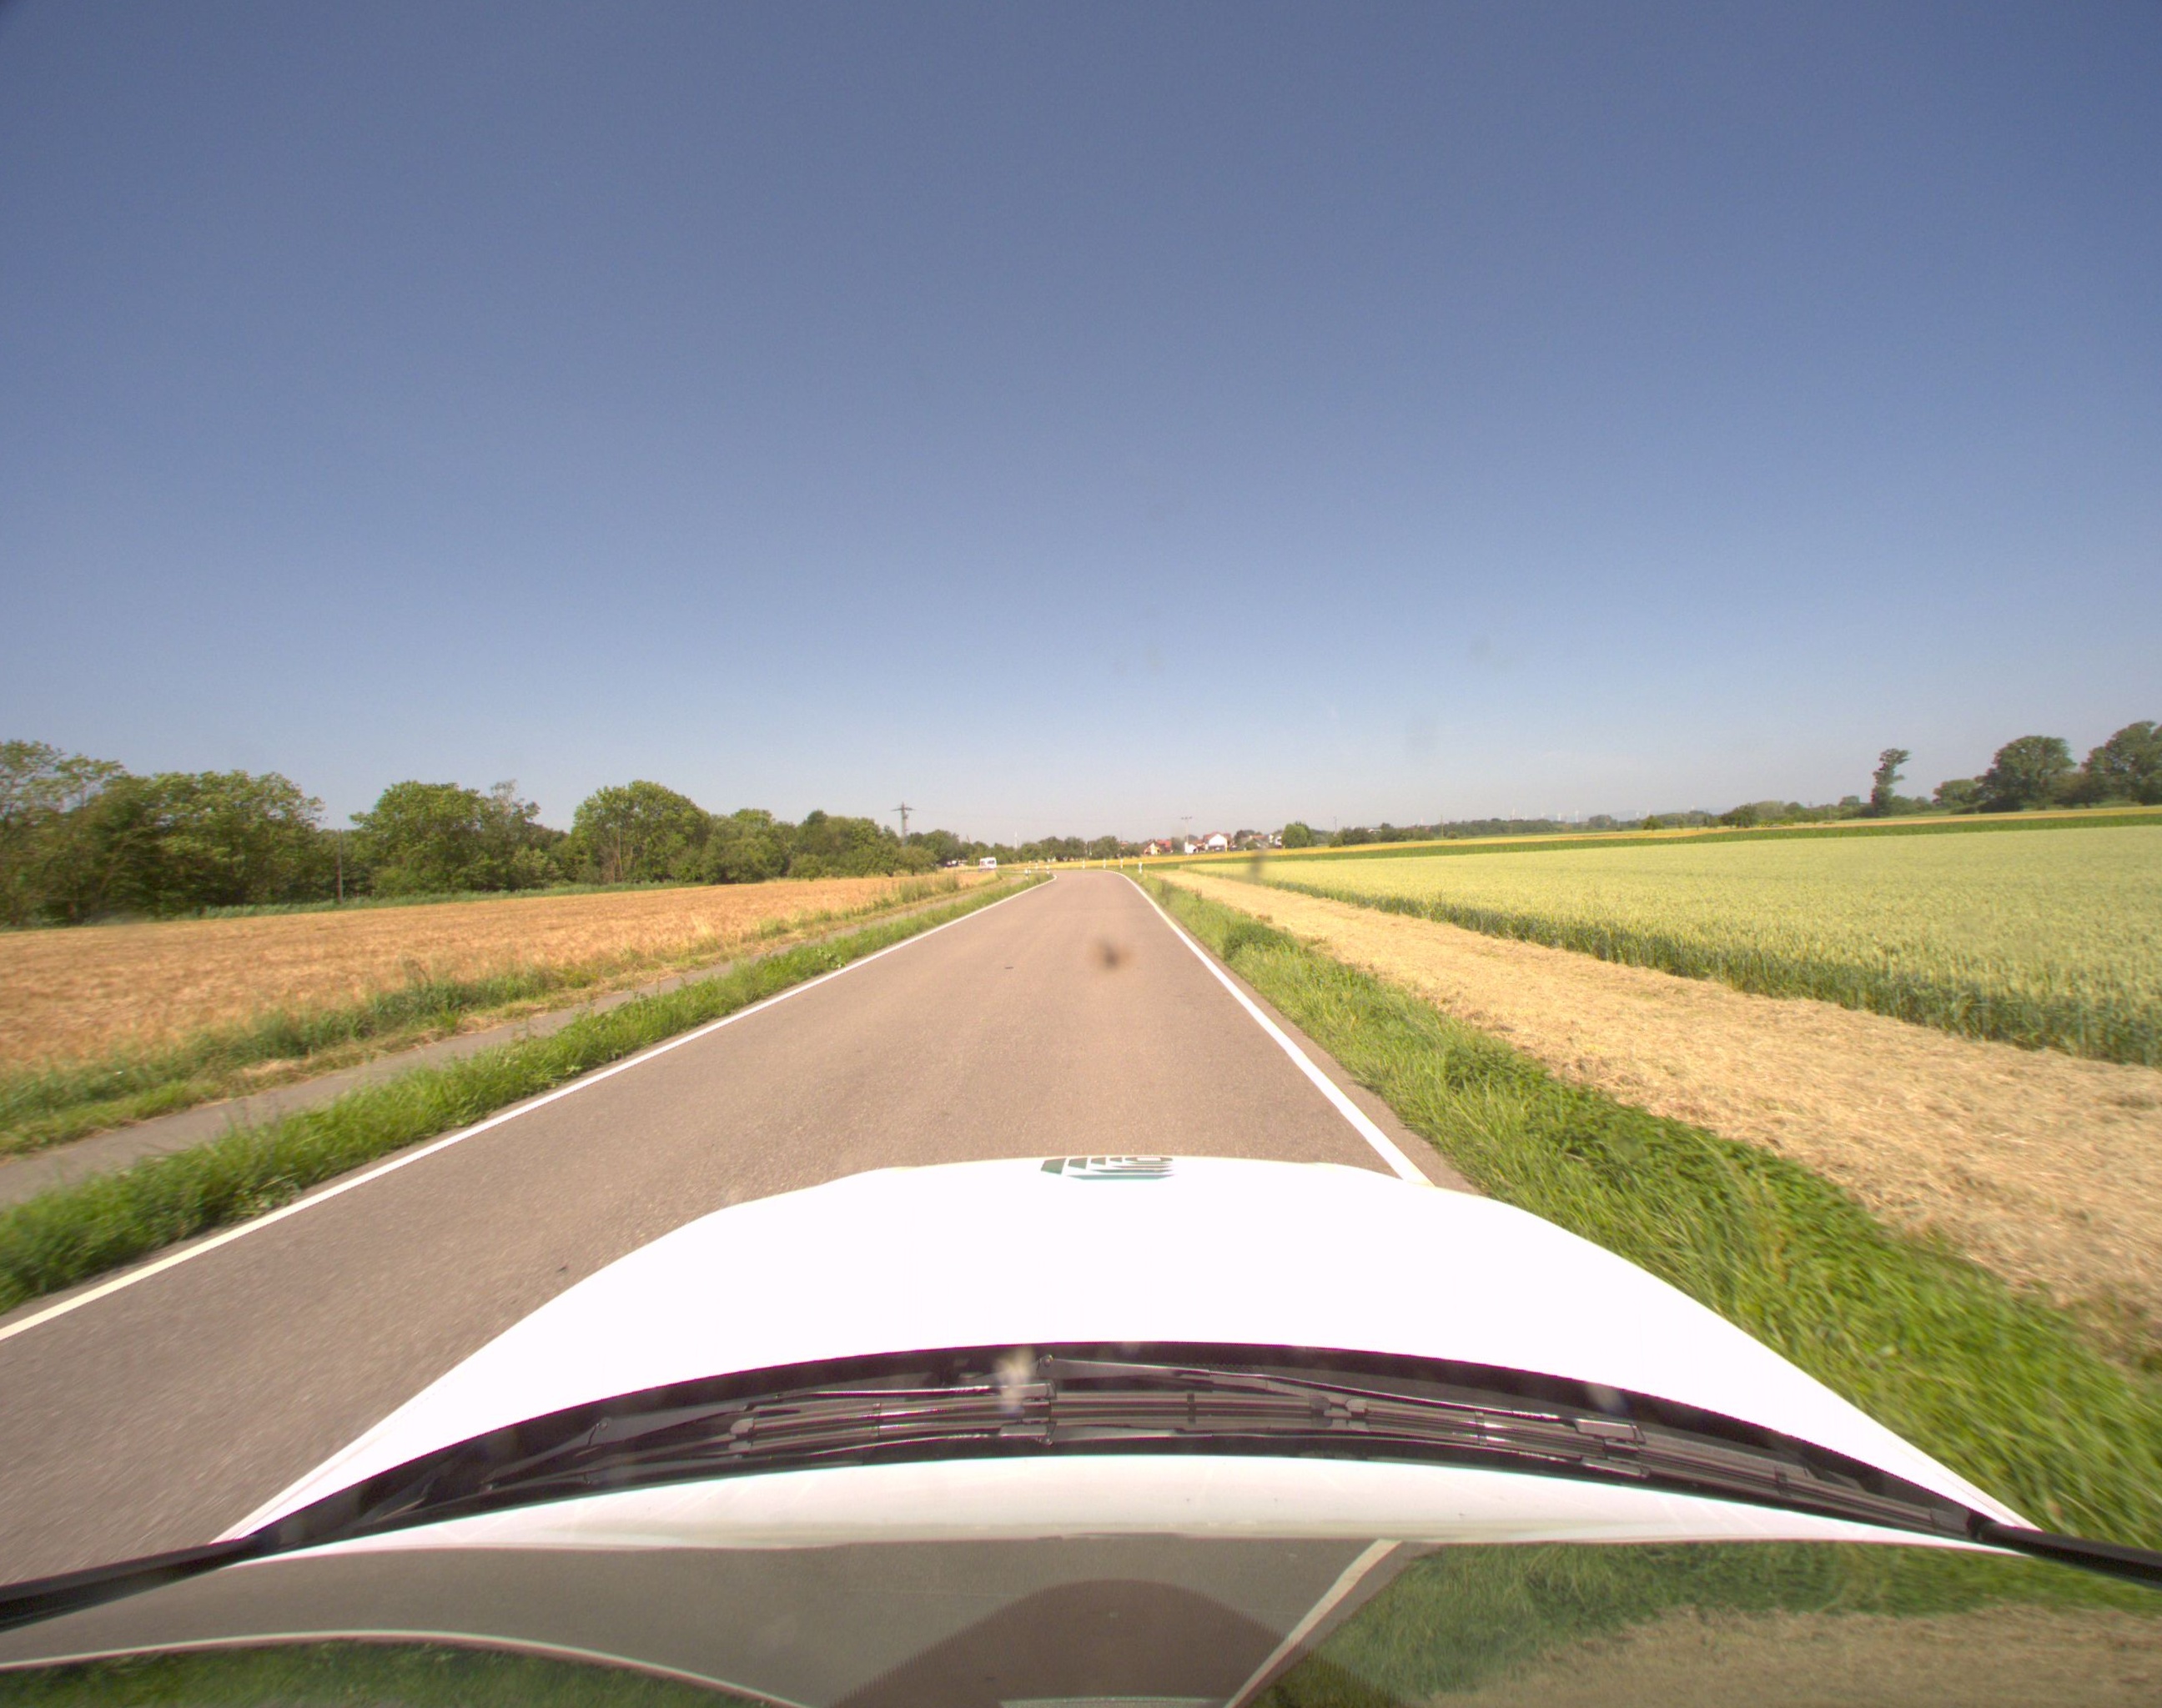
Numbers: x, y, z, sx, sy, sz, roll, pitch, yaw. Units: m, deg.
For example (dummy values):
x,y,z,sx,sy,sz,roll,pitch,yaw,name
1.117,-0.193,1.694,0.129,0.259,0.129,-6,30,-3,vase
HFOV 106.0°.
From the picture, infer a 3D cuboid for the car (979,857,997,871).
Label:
x,y,z,sx,sy,sz,roll,pitch,yaw,name
-16.254,1.775,142.687,2.001,2.266,4.693,-3,0,-20,car
